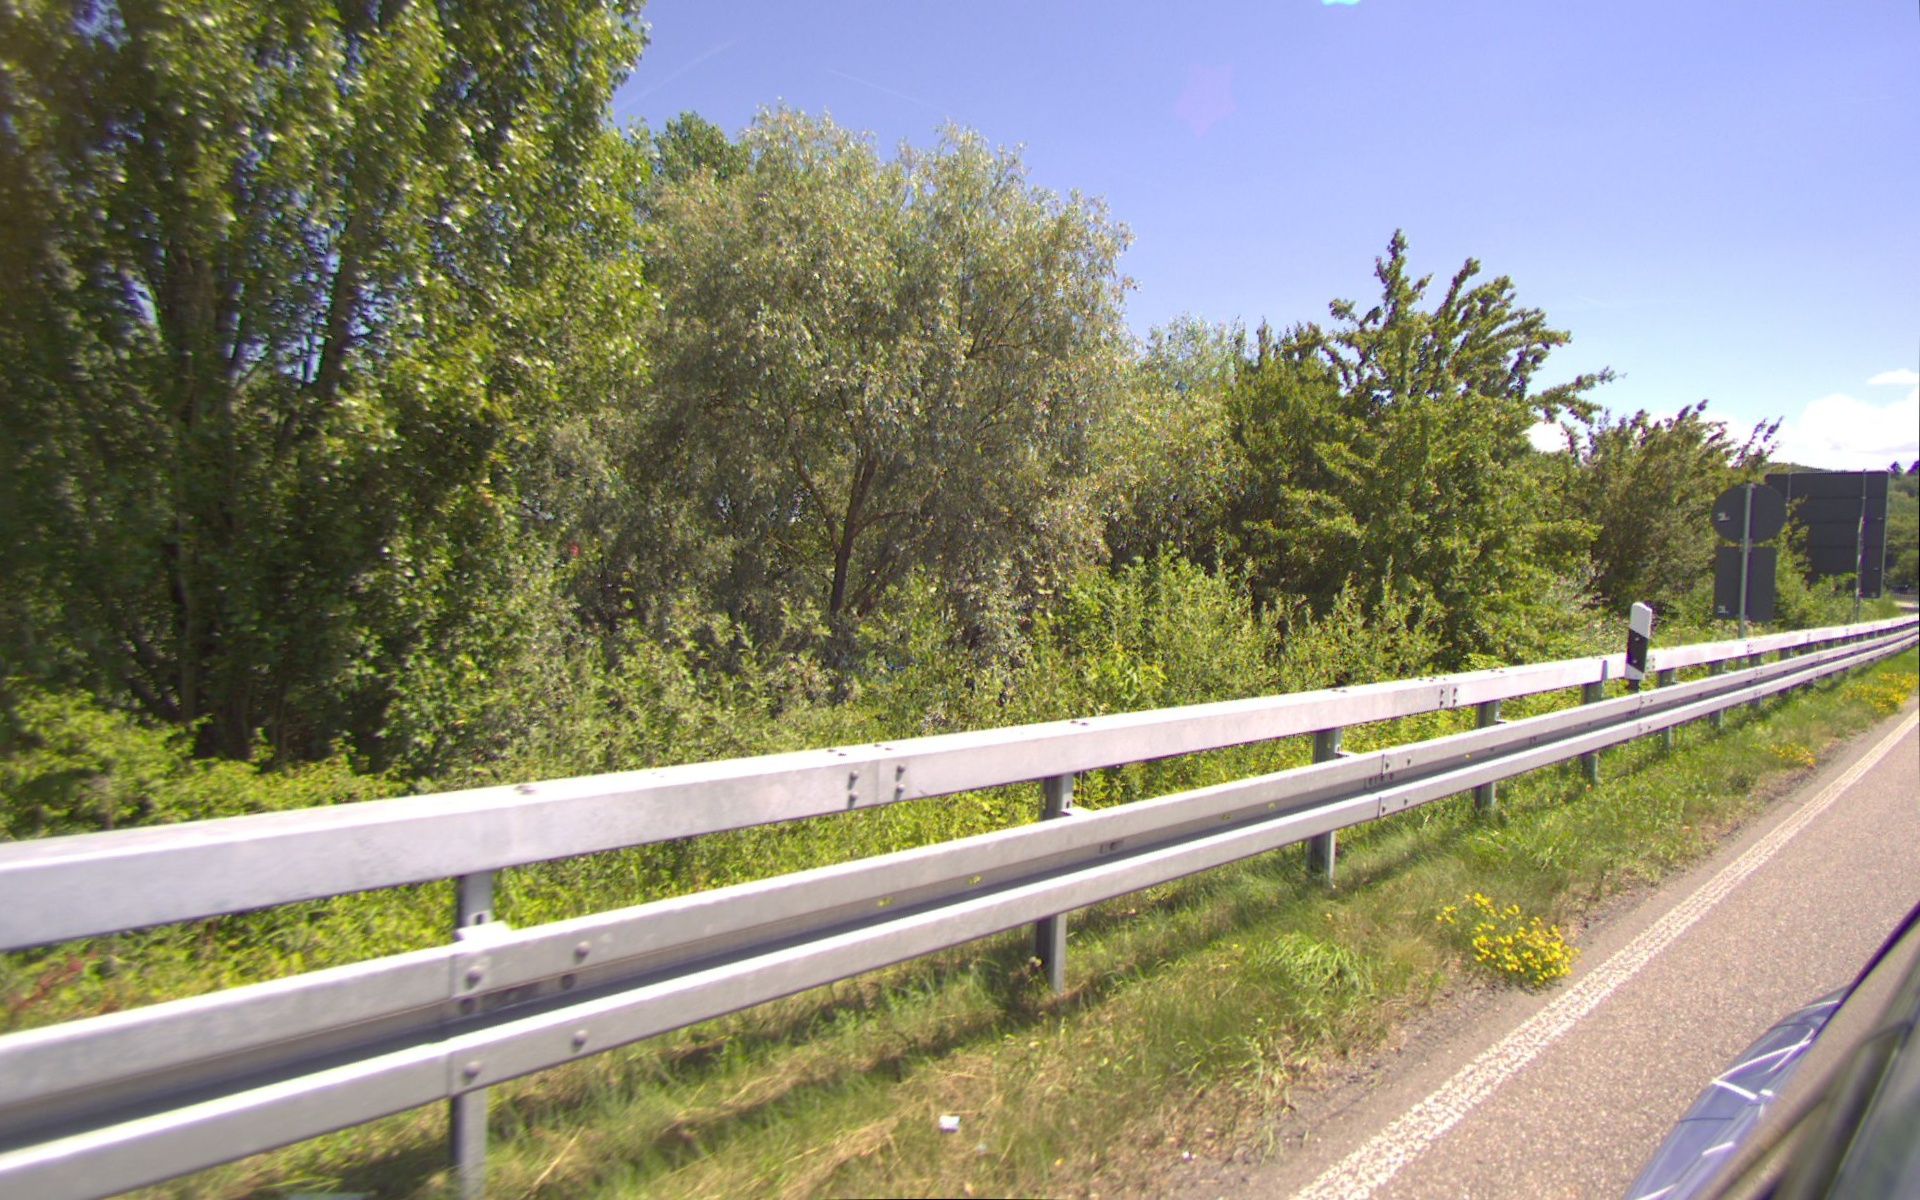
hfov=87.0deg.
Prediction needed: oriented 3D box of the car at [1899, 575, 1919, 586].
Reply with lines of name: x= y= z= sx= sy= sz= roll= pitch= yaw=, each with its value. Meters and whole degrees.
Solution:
car: x=166.006 y=-3.398 z=176.406 sx=2.190 sy=1.916 sz=4.867 roll=1 pitch=3 yaw=27
